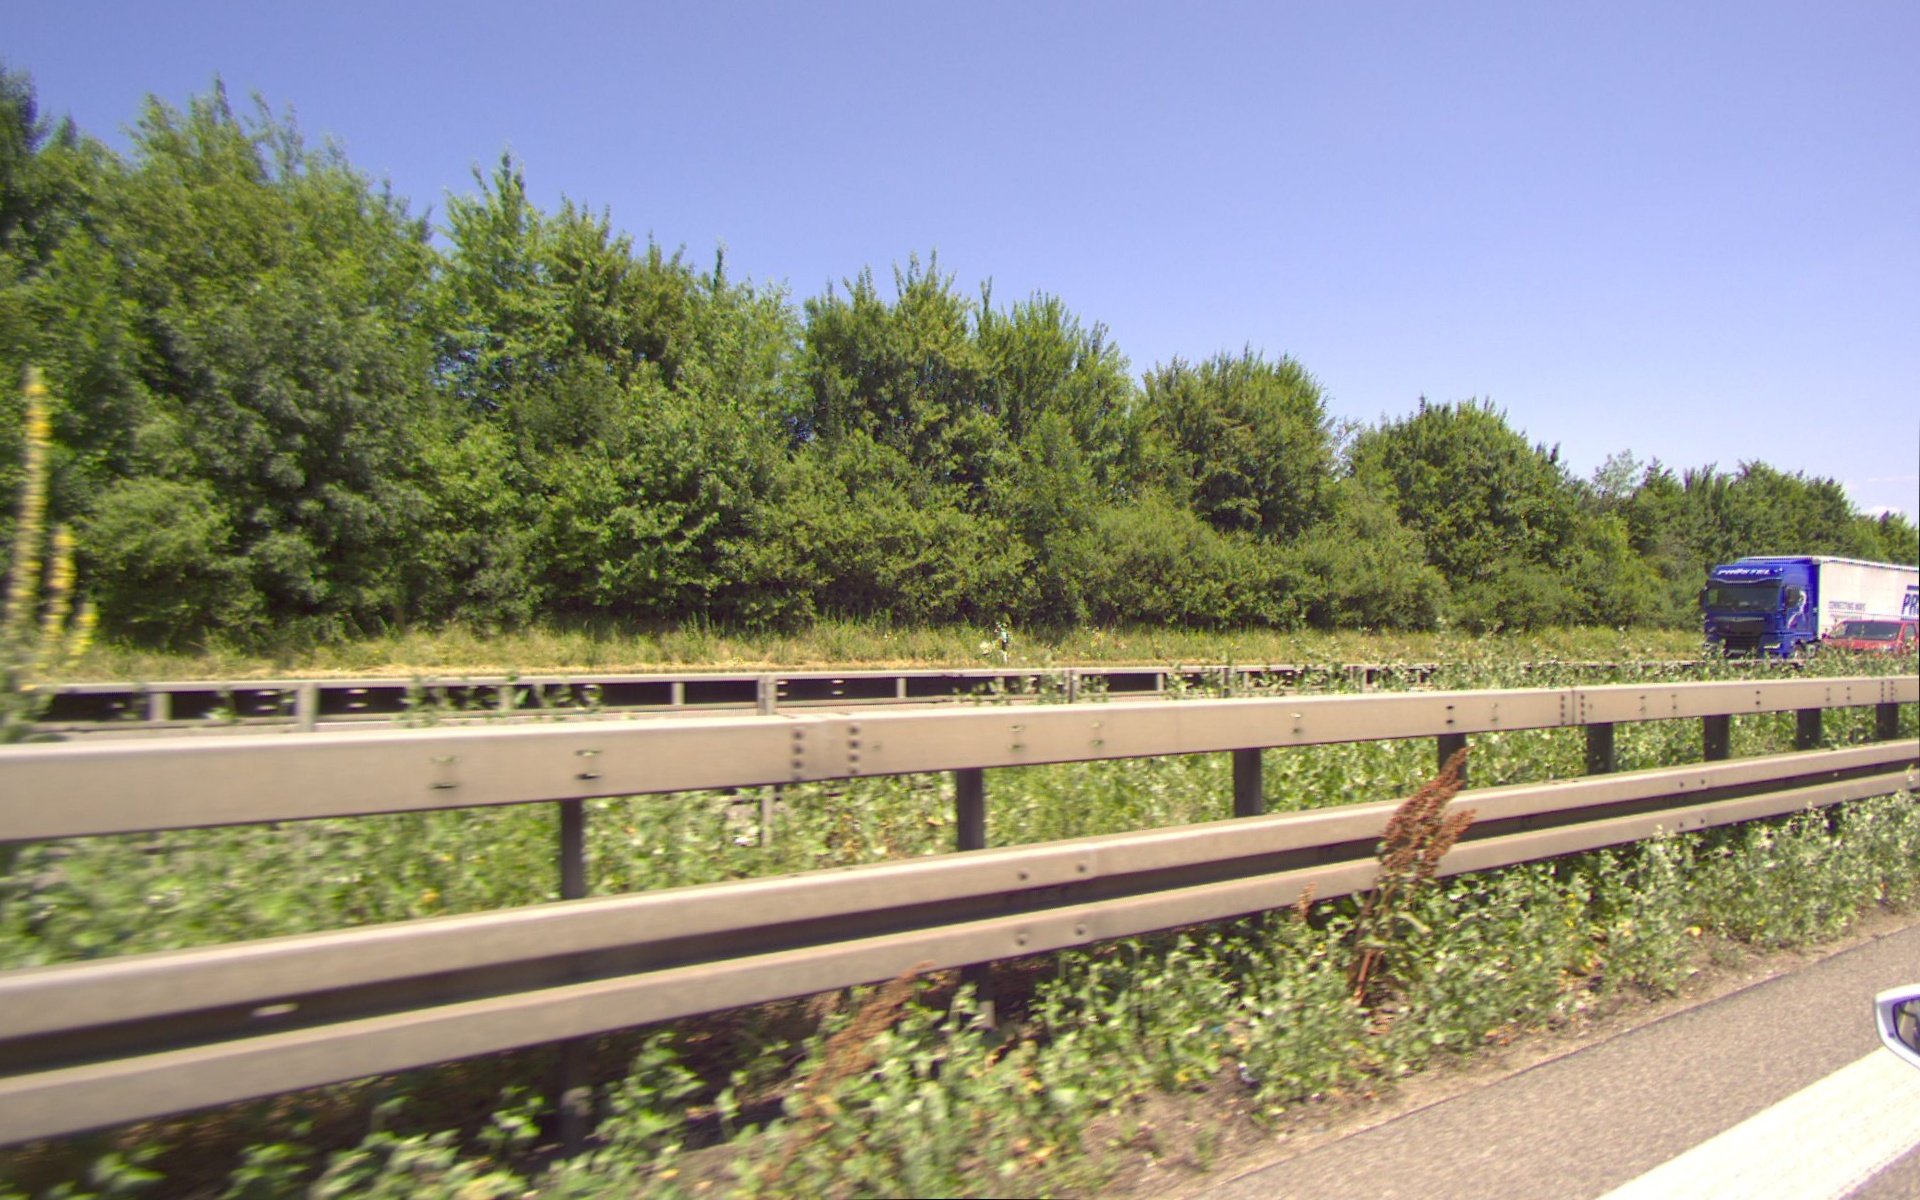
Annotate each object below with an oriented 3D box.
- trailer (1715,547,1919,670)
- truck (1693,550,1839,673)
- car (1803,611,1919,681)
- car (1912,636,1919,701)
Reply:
[{"bbox_3d":[35.047,0.322,39.869,14.500,4.311,2.622,0,0,-30],"label":"trailer"},{"bbox_3d":[29.328,0.381,36.528,5.023,4.174,2.481,0,1,-30],"label":"truck"},{"bbox_3d":[27.868,1.354,30.283,5.755,1.905,1.852,1,0,-30],"label":"car"},{"bbox_3d":[24.333,1.601,23.751,3.813,1.509,1.616,0,0,-30],"label":"car"}]
